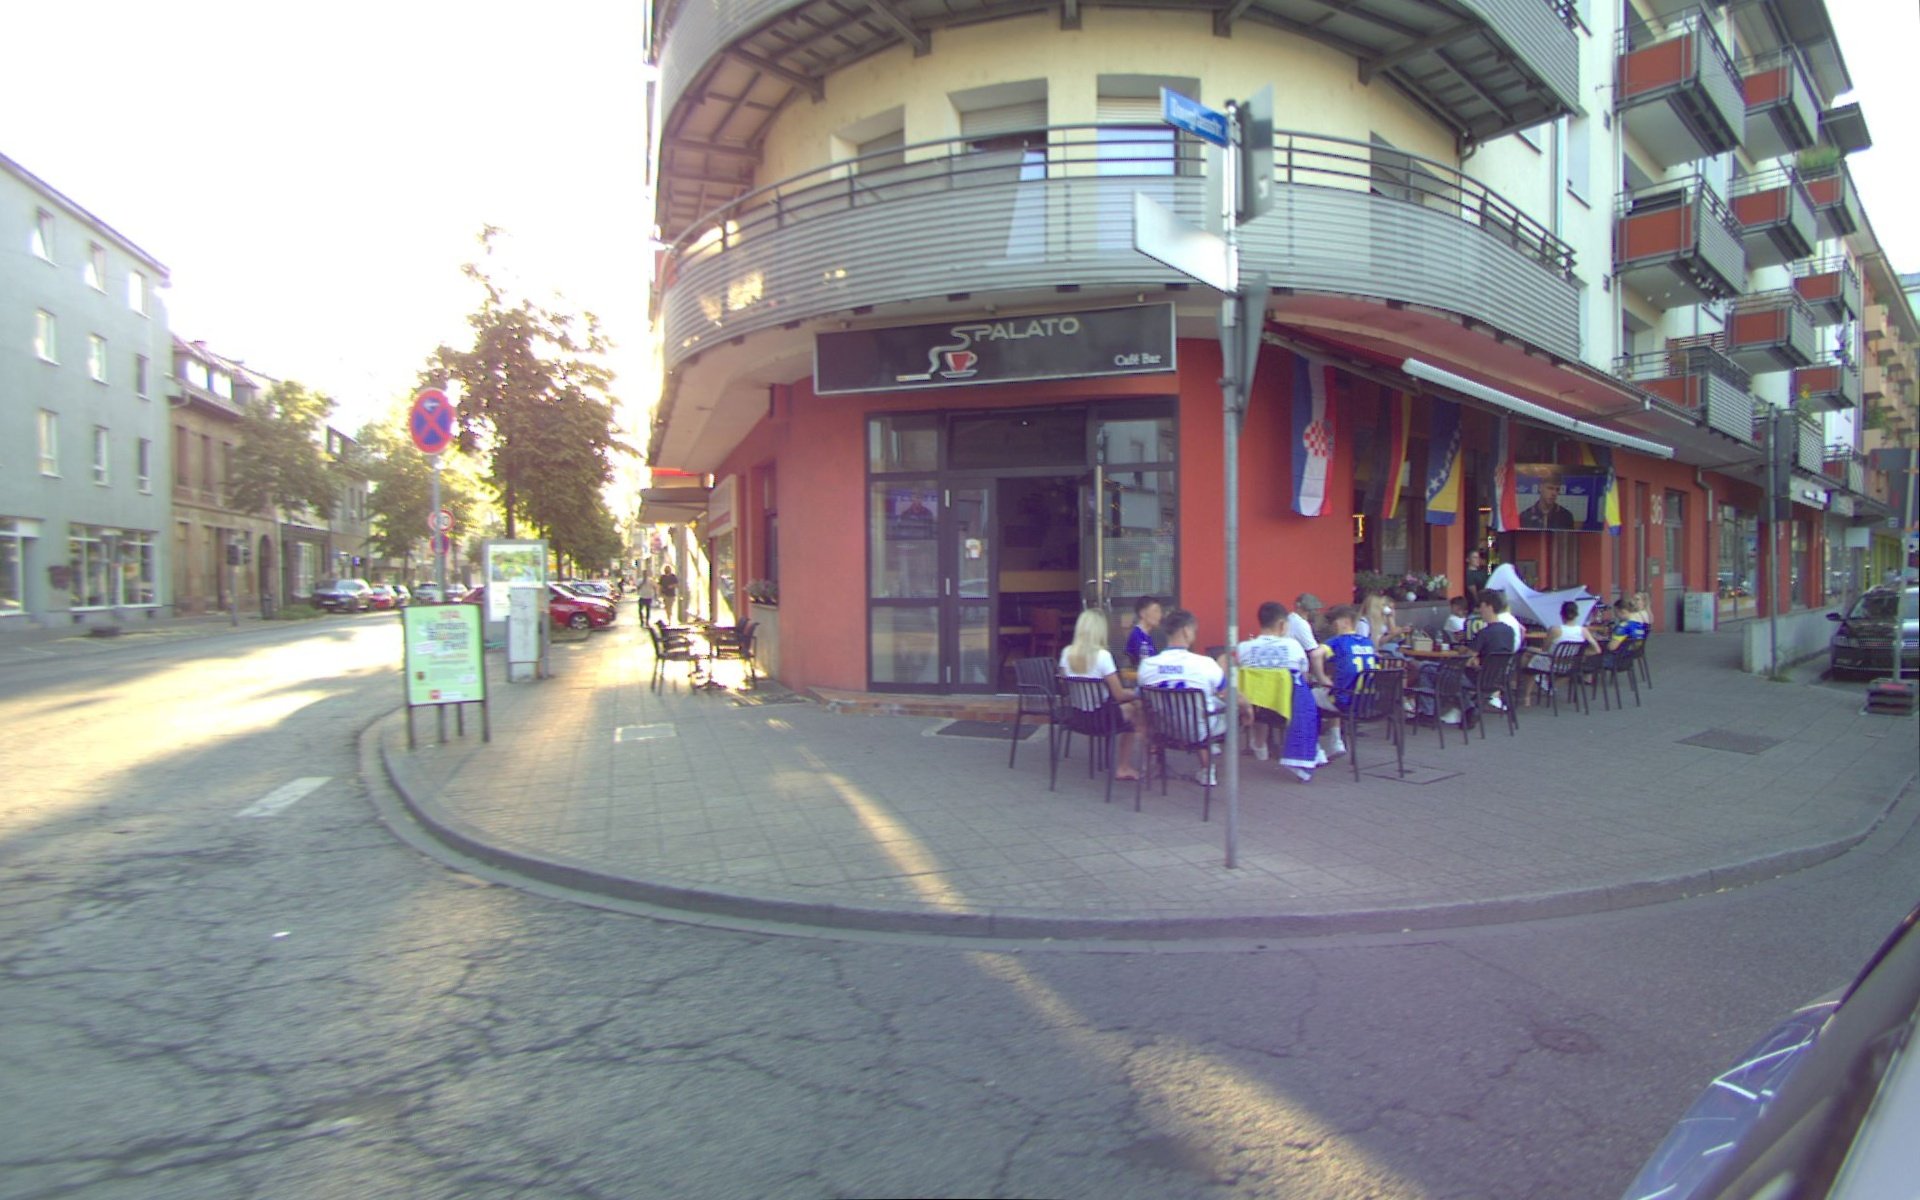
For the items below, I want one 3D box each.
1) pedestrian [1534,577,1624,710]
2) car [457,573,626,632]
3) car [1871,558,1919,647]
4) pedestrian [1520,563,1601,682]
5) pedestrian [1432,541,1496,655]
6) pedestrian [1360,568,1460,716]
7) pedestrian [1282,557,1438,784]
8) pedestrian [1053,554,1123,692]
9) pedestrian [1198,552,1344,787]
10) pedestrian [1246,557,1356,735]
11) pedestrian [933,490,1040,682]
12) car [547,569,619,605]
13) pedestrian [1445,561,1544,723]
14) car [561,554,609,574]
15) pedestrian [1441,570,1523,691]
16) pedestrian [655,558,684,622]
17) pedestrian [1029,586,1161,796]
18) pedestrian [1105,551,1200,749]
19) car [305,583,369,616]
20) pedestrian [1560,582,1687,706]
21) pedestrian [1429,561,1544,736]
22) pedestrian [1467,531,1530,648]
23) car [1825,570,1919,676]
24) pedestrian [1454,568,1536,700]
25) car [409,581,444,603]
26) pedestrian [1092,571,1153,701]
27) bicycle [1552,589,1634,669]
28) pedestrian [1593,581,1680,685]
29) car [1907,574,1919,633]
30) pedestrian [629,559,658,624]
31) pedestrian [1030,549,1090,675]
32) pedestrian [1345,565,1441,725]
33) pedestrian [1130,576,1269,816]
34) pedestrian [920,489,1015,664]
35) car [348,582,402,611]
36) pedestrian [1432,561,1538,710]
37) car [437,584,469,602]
[{"bbox_3d":[6.760,0.442,11.054,0.653,1.361,0.737,3,3,45],"label":"pedestrian"},{"bbox_3d":[-11.975,0.038,29.232,4.352,1.561,1.821,-1,1,-20],"label":"car"},{"bbox_3d":[20.195,0.004,20.724,4.068,1.721,1.881,-2,0,-43],"label":"car"},{"bbox_3d":[8.154,0.299,13.776,0.844,1.555,0.708,-1,0,26],"label":"pedestrian"},{"bbox_3d":[7.962,-0.036,15.996,0.658,1.742,0.717,-1,1,-44],"label":"pedestrian"},{"bbox_3d":[4.862,0.416,10.931,0.771,1.523,0.767,-1,1,-45],"label":"pedestrian"},{"bbox_3d":[3.003,0.476,7.605,0.838,1.554,0.714,-1,5,-41],"label":"pedestrian"},{"bbox_3d":[1.958,0.332,15.532,0.659,2.039,0.812,-1,1,-43],"label":"pedestrian"},{"bbox_3d":[2.198,0.445,7.182,0.675,1.555,0.716,-2,2,-26],"label":"pedestrian"},{"bbox_3d":[3.126,0.398,9.335,0.635,1.555,0.754,-1,0,-10],"label":"pedestrian"},{"bbox_3d":[0.291,-0.163,11.329,0.838,2.039,0.913,-1,1,-28],"label":"pedestrian"},{"bbox_3d":[-22.340,-0.795,60.026,3.917,2.038,2.004,-2,1,-22],"label":"car"},{"bbox_3d":[5.424,0.393,10.270,0.649,1.545,0.689,5,4,43],"label":"pedestrian"},{"bbox_3d":[-39.813,-3.817,107.519,4.797,2.039,1.984,0,1,25],"label":"car"},{"bbox_3d":[6.435,0.356,12.482,0.592,1.439,0.713,-1,0,-43],"label":"pedestrian"},{"bbox_3d":[-9.100,-0.319,31.710,0.715,1.972,0.806,-1,1,-24],"label":"pedestrian"},{"bbox_3d":[0.962,0.579,7.027,0.678,1.297,0.961,0,3,22],"label":"pedestrian"},{"bbox_3d":[1.612,0.393,8.437,0.703,1.555,0.850,-1,0,13],"label":"pedestrian"},{"bbox_3d":[-31.532,-0.051,51.313,1.958,1.571,4.009,-1,1,-20],"label":"car"},{"bbox_3d":[7.608,0.469,11.630,0.835,1.321,0.880,-1,2,-23],"label":"pedestrian"},{"bbox_3d":[4.998,0.421,9.615,0.712,1.554,0.748,5,4,43],"label":"pedestrian"},{"bbox_3d":[9.687,-0.194,18.205,0.798,2.039,0.670,-1,0,-32],"label":"pedestrian"},{"bbox_3d":[15.865,0.296,16.600,4.550,1.571,1.877,-2,0,-41],"label":"car"},{"bbox_3d":[6.137,0.360,11.610,0.666,1.451,0.552,3,3,45],"label":"pedestrian"},{"bbox_3d":[-39.516,-0.604,75.030,1.720,1.571,4.296,-1,1,-20],"label":"car"},{"bbox_3d":[2.305,0.492,14.376,0.609,1.799,0.609,-1,0,40],"label":"pedestrian"},{"bbox_3d":[9.572,0.406,15.267,1.972,1.101,0.549,-2,0,-43],"label":"bicycle"},{"bbox_3d":[8.932,0.410,13.395,0.844,1.293,0.709,0,4,26],"label":"pedestrian"},{"bbox_3d":[24.761,0.037,25.086,1.748,1.421,3.903,-1,0,45],"label":"car"},{"bbox_3d":[-9.797,-0.262,31.300,0.715,1.972,0.742,-1,1,-24],"label":"pedestrian"},{"bbox_3d":[1.470,0.162,14.868,0.608,1.799,0.610,-1,1,-45],"label":"pedestrian"},{"bbox_3d":[4.439,0.429,10.377,0.644,1.554,0.674,-1,3,-45],"label":"pedestrian"},{"bbox_3d":[1.555,0.556,6.489,0.761,1.399,0.833,0,2,22],"label":"pedestrian"},{"bbox_3d":[0.084,-0.282,12.339,0.845,2.039,0.815,-1,0,-28],"label":"pedestrian"},{"bbox_3d":[-33.580,-0.207,58.199,1.958,1.571,4.009,-1,1,-20],"label":"car"},{"bbox_3d":[5.744,0.371,11.084,0.850,1.555,0.669,-2,0,44],"label":"pedestrian"},{"bbox_3d":[-43.470,-0.617,86.880,1.958,1.404,4.009,-1,1,-20],"label":"car"}]
